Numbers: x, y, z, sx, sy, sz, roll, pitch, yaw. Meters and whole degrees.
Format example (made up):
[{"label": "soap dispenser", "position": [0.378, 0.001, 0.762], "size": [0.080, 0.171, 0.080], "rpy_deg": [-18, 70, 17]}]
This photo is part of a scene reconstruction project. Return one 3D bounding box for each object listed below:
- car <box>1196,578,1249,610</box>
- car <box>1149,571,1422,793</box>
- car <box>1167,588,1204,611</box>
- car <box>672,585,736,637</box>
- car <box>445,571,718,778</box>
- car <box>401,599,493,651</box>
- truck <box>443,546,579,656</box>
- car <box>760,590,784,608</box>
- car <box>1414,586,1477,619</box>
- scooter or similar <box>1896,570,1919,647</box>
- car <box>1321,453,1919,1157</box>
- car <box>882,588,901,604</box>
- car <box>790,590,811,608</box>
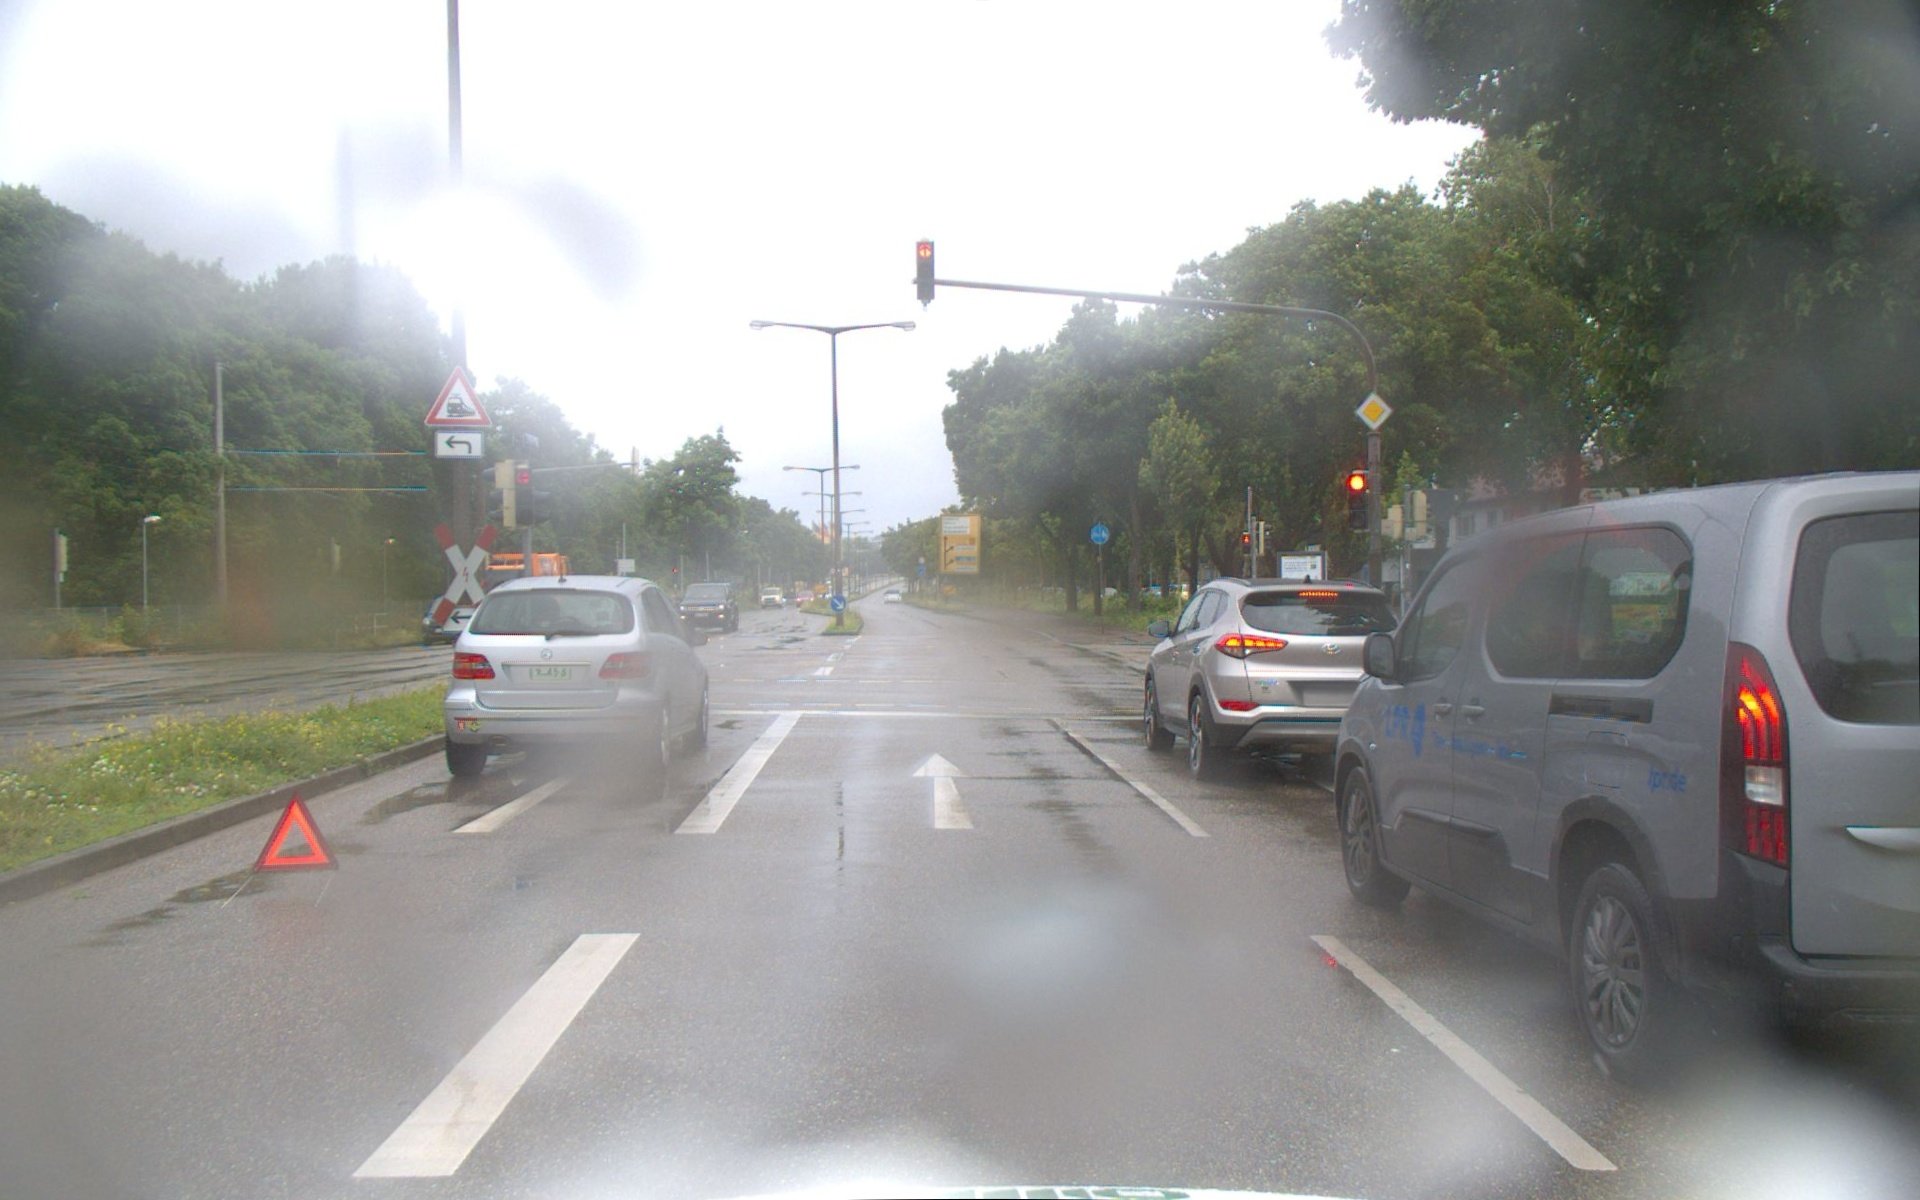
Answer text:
[{"label": "car", "position": [15.280, -0.346, 96.583], "size": [1.954, 1.747, 4.874], "rpy_deg": [-1, 0, -5]}, {"label": "car", "position": [2.689, 0.627, 14.556], "size": [1.844, 1.638, 4.197], "rpy_deg": [1, 0, 4]}, {"label": "car", "position": [15.076, -0.033, 110.551], "size": [1.605, 1.512, 4.069], "rpy_deg": [1, 0, -5]}, {"label": "car", "position": [-9.462, 0.371, 61.426], "size": [1.770, 1.804, 5.086], "rpy_deg": [-2, 0, -3]}, {"label": "car", "position": [-3.207, 0.564, 14.757], "size": [1.702, 1.571, 4.010], "rpy_deg": [-1, 0, -3]}, {"label": "car", "position": [-18.367, 0.879, 59.384], "size": [1.953, 1.739, 4.525], "rpy_deg": [1, 0, -2]}, {"label": "truck", "position": [-18.739, 0.057, 69.864], "size": [3.317, 4.240, 10.400], "rpy_deg": [1, 0, -3]}, {"label": "car", "position": [-17.548, -0.088, 154.200], "size": [1.856, 1.639, 4.498], "rpy_deg": [-1, 0, -2]}, {"label": "car", "position": [22.120, 0.124, 75.320], "size": [1.636, 1.474, 3.738], "rpy_deg": [1, 0, 36]}, {"label": "scooter or similar", "position": [14.954, 0.127, 25.906], "size": [0.279, 1.197, 0.560], "rpy_deg": [-1, 0, 4]}, {"label": "car", "position": [2.938, 0.542, 6.597], "size": [1.953, 1.827, 4.561], "rpy_deg": [1, 0, -1]}, {"label": "car", "position": [-6.767, -0.416, 164.314], "size": [1.869, 1.541, 3.998], "rpy_deg": [-1, 0, -2]}, {"label": "car", "position": [-14.934, -0.082, 154.915], "size": [1.765, 1.597, 4.425], "rpy_deg": [-2, 0, -3]}]
